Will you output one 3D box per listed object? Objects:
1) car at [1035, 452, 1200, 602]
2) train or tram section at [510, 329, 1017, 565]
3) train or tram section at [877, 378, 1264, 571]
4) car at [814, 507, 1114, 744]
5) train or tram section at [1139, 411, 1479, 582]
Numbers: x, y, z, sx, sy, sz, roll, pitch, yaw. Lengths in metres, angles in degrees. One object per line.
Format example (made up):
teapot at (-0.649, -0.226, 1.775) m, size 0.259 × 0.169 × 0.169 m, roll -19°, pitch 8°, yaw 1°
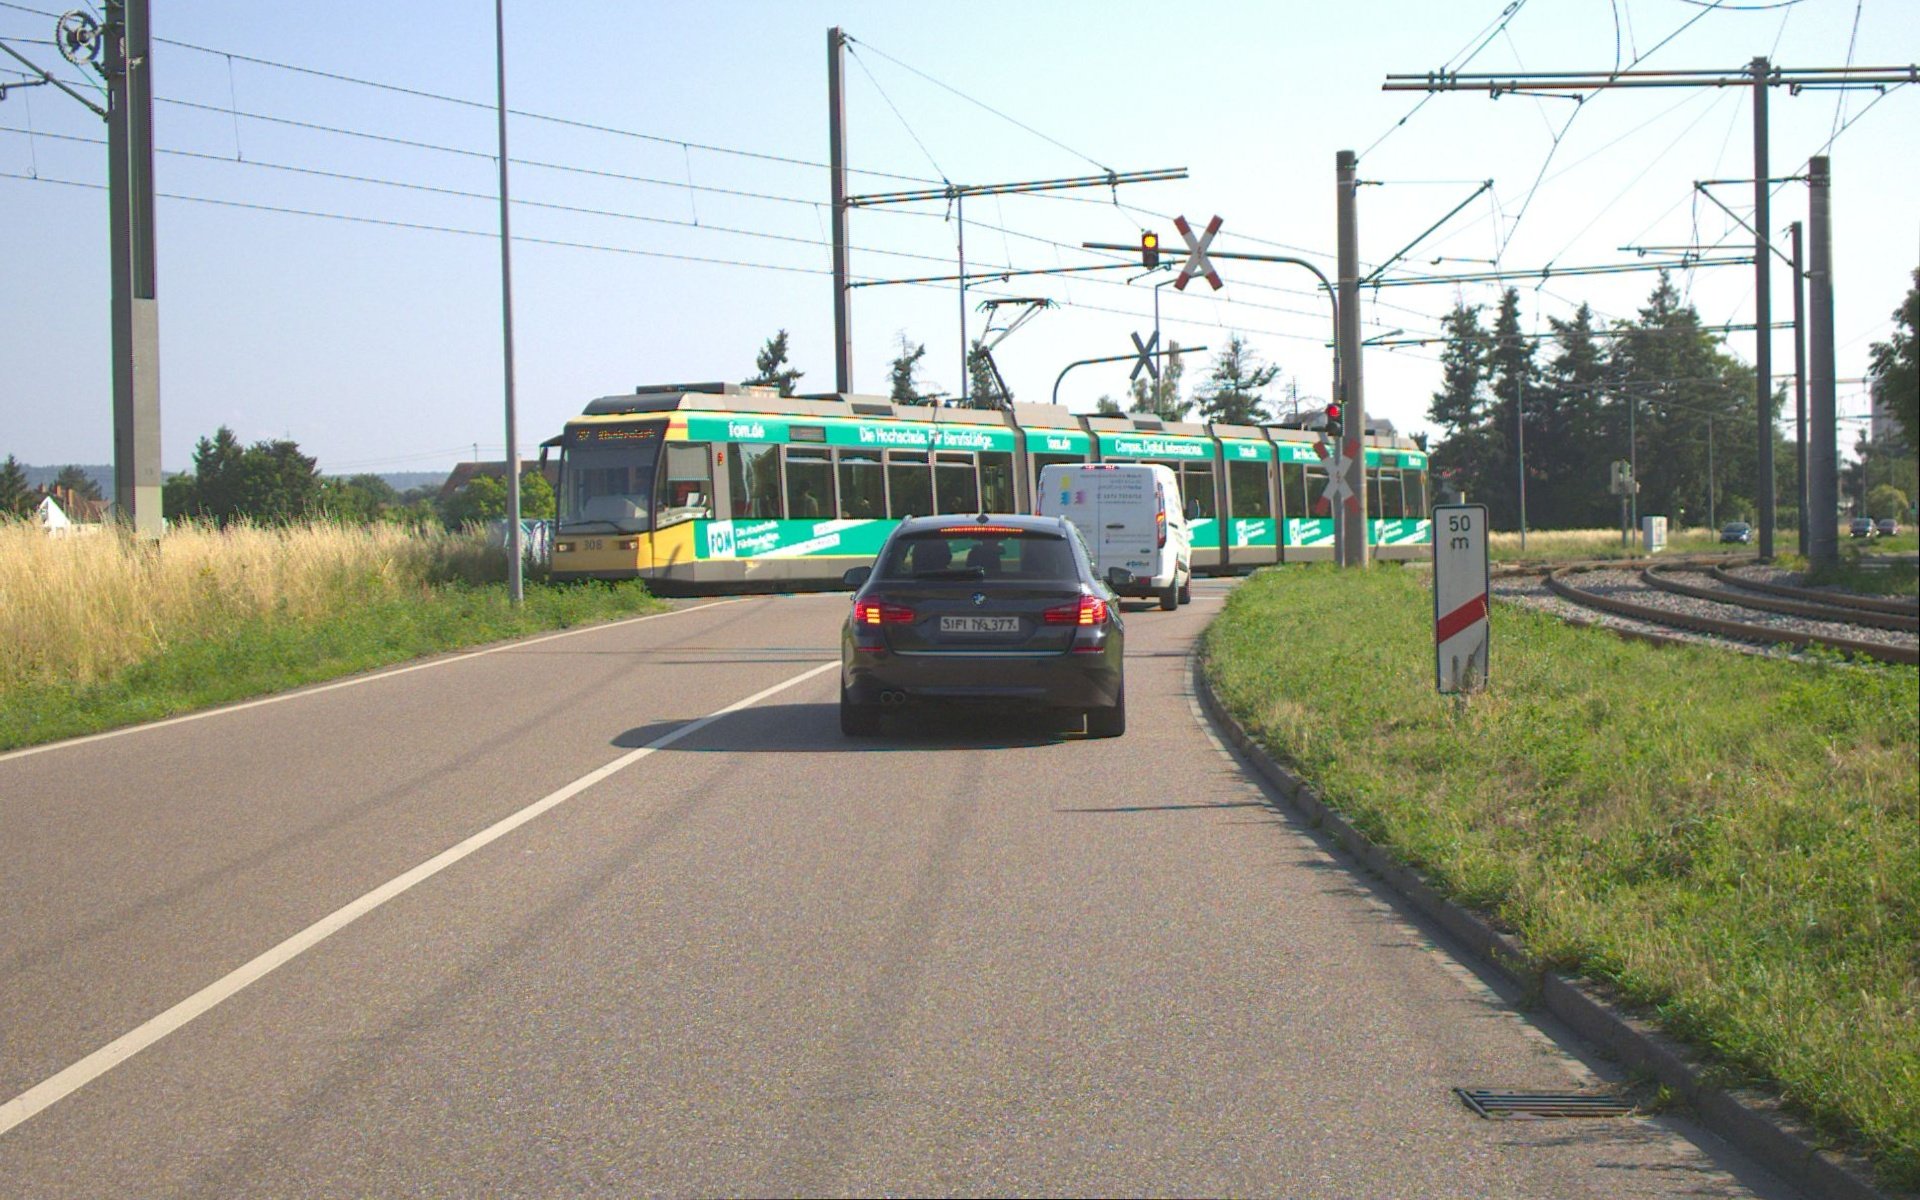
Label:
car at (2.260, -1.032, 48.069) m, size 1.858 × 1.981 × 5.107 m, roll 0°, pitch 1°, yaw 8°
train or tram section at (-3.060, -2.464, 59.643) m, size 2.955 × 3.473 × 12.147 m, roll 1°, pitch 0°, yaw 27°
train or tram section at (2.529, -2.418, 70.474) m, size 2.922 × 3.442 × 12.147 m, roll 1°, pitch 0°, yaw 27°
car at (0.123, 0.095, 23.811) m, size 1.869 × 1.447 × 4.744 m, roll 0°, pitch 2°, yaw 2°
train or tram section at (8.621, -2.324, 82.225) m, size 2.911 × 3.556 × 14.238 m, roll 1°, pitch 0°, yaw 28°
